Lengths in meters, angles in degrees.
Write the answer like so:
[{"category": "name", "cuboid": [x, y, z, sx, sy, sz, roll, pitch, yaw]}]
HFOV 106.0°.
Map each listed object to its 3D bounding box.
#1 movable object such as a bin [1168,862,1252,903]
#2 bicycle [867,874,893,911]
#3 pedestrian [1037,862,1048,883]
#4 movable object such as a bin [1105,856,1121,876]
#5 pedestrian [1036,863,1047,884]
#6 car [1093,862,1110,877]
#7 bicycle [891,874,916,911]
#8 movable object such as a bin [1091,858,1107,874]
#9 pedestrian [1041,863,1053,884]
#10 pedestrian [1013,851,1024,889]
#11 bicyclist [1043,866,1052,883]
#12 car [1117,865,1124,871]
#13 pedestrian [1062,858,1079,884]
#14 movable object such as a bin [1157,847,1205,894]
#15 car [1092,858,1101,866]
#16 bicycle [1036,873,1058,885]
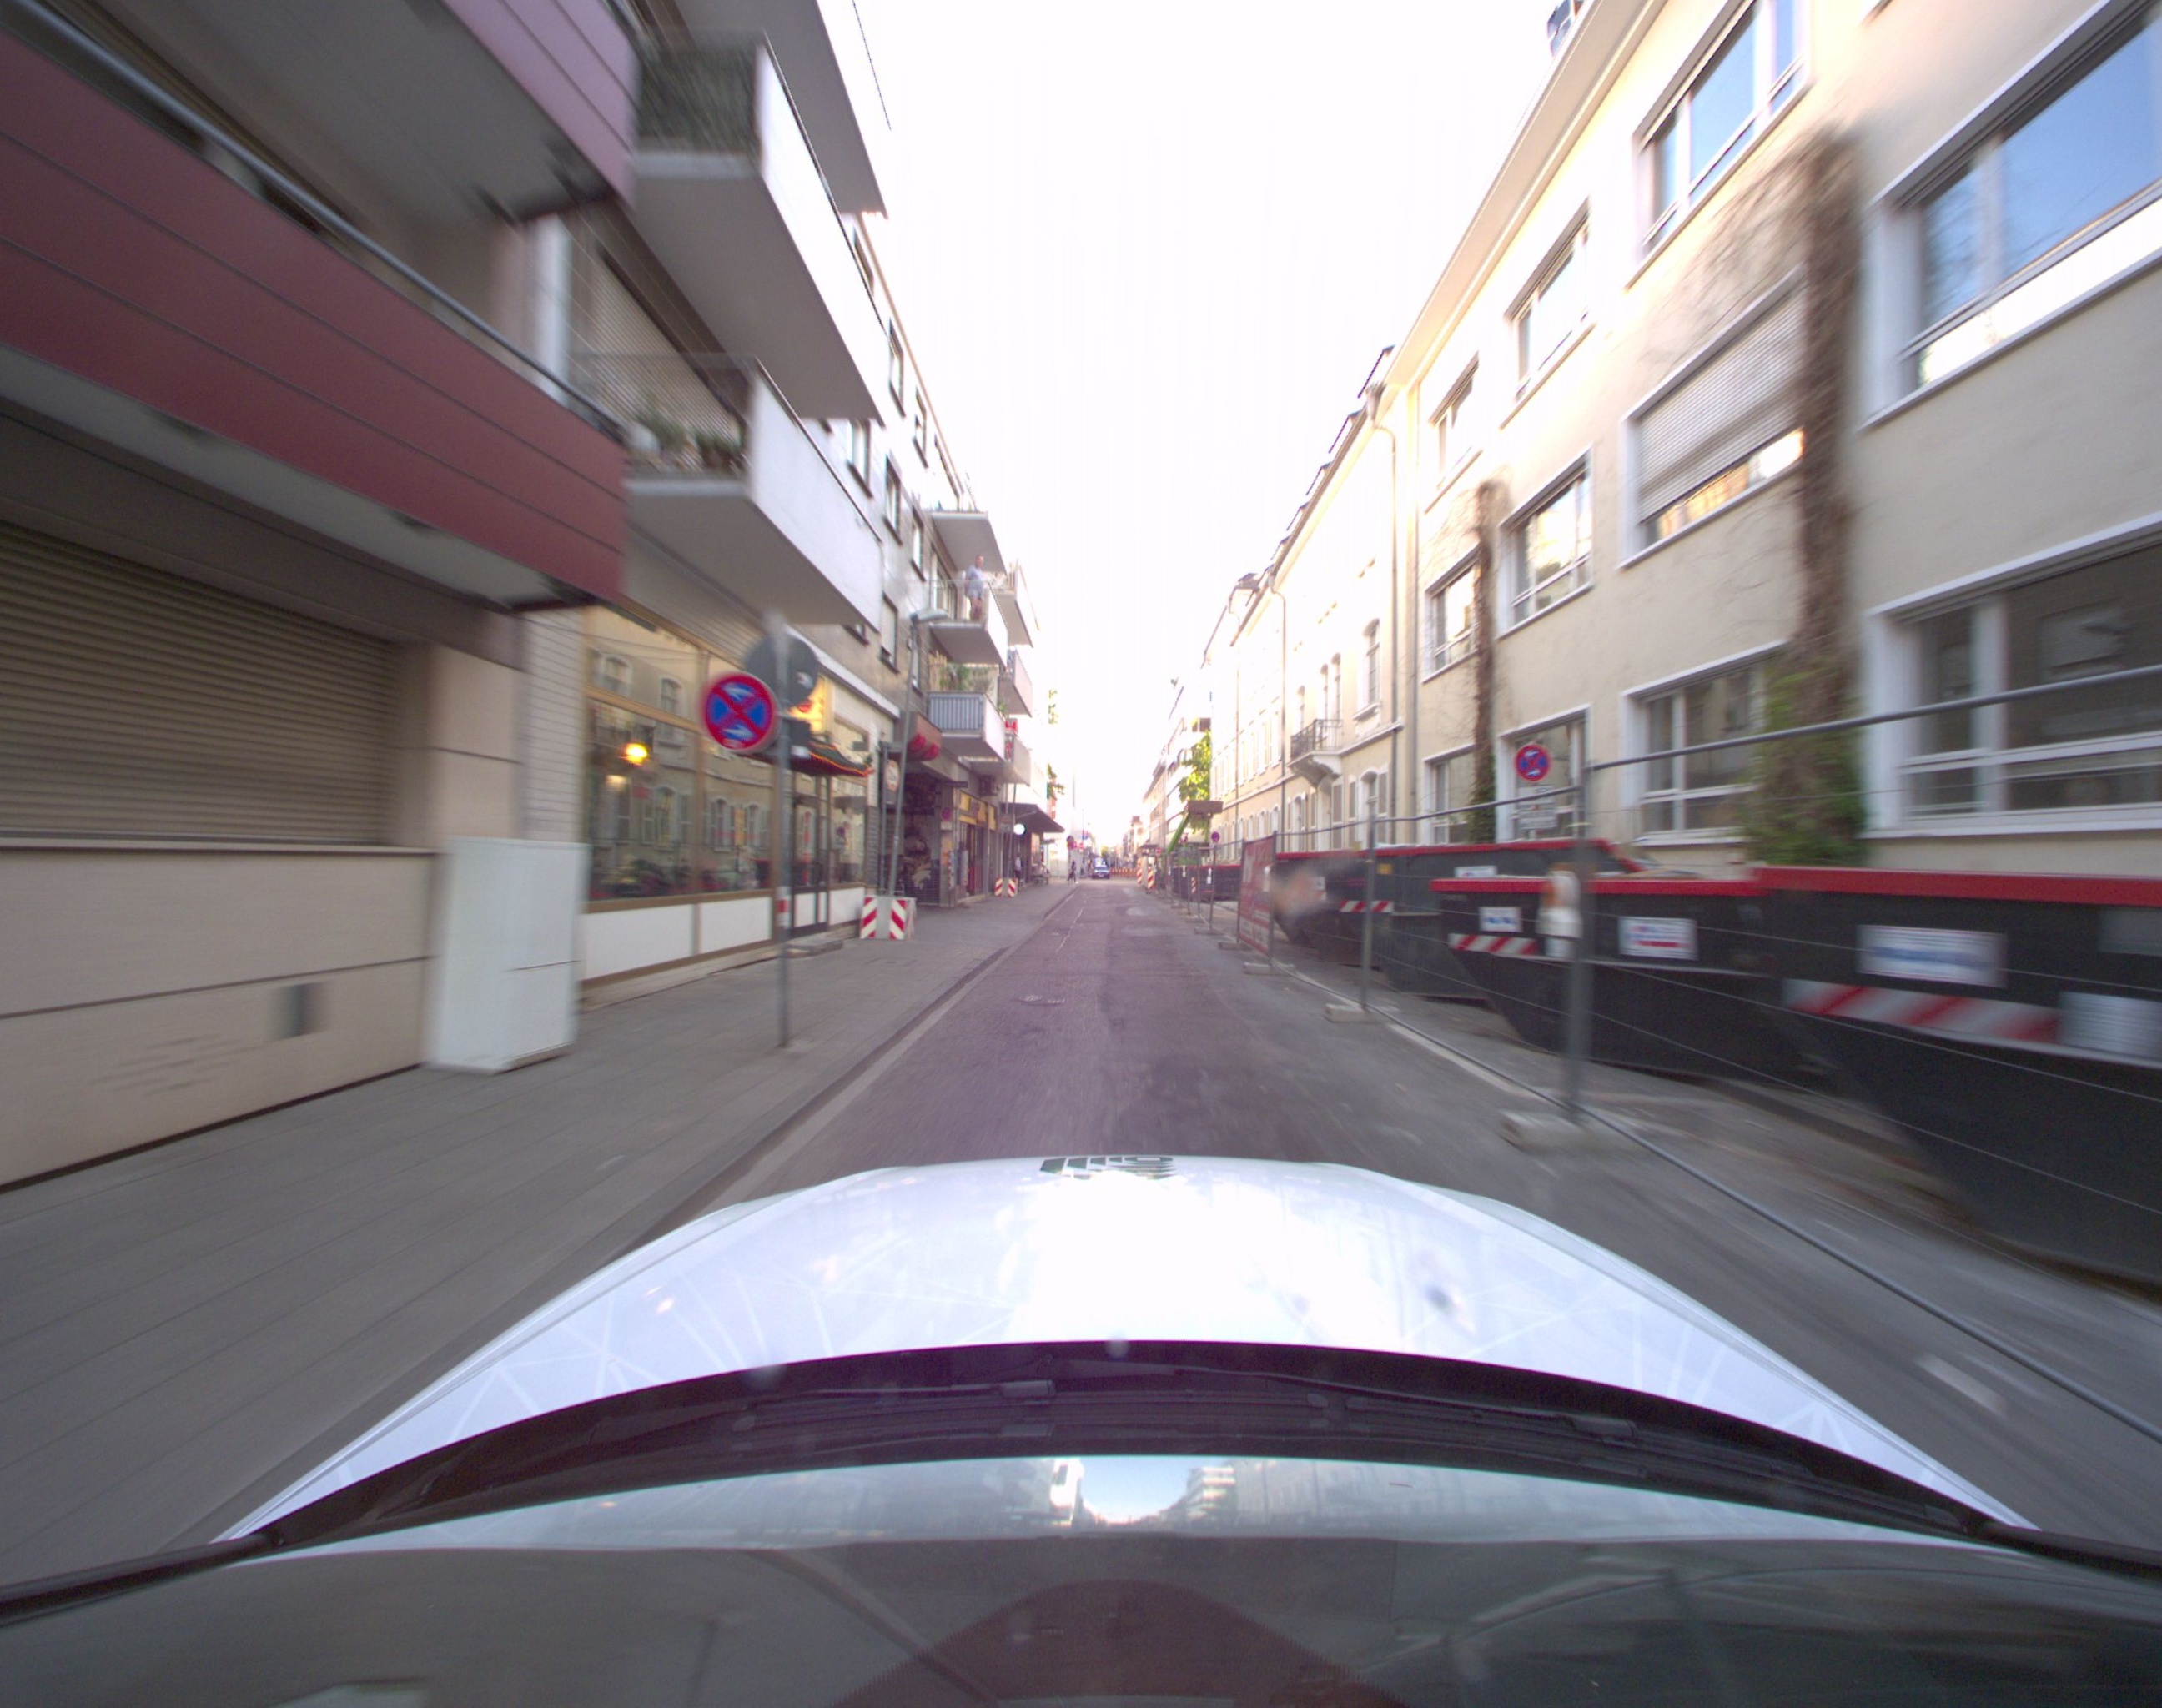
[{"category": "movable object such as a bin", "cuboid": [5.692, 1.229, 37.228, 2.726, 1.638, 7.552, 1, -1, 1]}, {"category": "bicycle", "cuboid": [-5.674, 1.062, 23.080, 0.376, 0.961, 1.501, 1, 0, -1]}, {"category": "pedestrian", "cuboid": [-2.381, 1.148, 50.375, 0.571, 1.275, 0.714, 3, -1, 2]}, {"category": "movable object such as a bin", "cuboid": [4.313, 1.649, 110.802, 2.148, 2.664, 4.573, 1, -1, 2]}, {"category": "pedestrian", "cuboid": [-2.401, 1.176, 49.371, 0.571, 1.275, 0.714, 2, -1, 2]}, {"category": "car", "cuboid": [2.142, 1.605, 85.431, 1.625, 1.550, 3.140, 0, -1, -2]}, {"category": "bicycle", "cuboid": [-5.000, 1.058, 22.985, 0.376, 0.961, 1.501, 1, 0, -1]}, {"category": "movable object such as a bin", "cuboid": [2.232, 1.499, 100.819, 1.986, 2.014, 4.002, 0, -1, 2]}, {"category": "pedestrian", "cuboid": [-2.144, 1.224, 51.481, 0.699, 1.275, 0.714, 2, -1, 2]}, {"category": "pedestrian", "cuboid": [-2.994, 0.769, 38.979, 0.529, 1.834, 0.562, 0, -1, -5]}, {"category": "bicyclist", "cuboid": [-2.944, 1.774, 71.189, 0.722, 1.442, 0.506, 0, -1, -1]}, {"category": "car", "cuboid": [10.953, 3.840, 224.749, 1.986, 1.777, 4.001, 0, -1, 2]}, {"category": "pedestrian", "cuboid": [-0.734, 1.182, 58.135, 1.075, 1.835, 0.693, 0, -1, -19]}, {"category": "movable object such as a bin", "cuboid": [6.256, 1.028, 51.483, 2.595, 2.839, 4.451, 0, -1, 2]}, {"category": "car", "cuboid": [3.432, 1.829, 180.459, 1.986, 1.777, 4.001, 0, -1, 2]}, {"category": "bicycle", "cuboid": [-2.950, 2.181, 71.195, 1.885, 1.038, 0.409, 0, -1, -2]}]
